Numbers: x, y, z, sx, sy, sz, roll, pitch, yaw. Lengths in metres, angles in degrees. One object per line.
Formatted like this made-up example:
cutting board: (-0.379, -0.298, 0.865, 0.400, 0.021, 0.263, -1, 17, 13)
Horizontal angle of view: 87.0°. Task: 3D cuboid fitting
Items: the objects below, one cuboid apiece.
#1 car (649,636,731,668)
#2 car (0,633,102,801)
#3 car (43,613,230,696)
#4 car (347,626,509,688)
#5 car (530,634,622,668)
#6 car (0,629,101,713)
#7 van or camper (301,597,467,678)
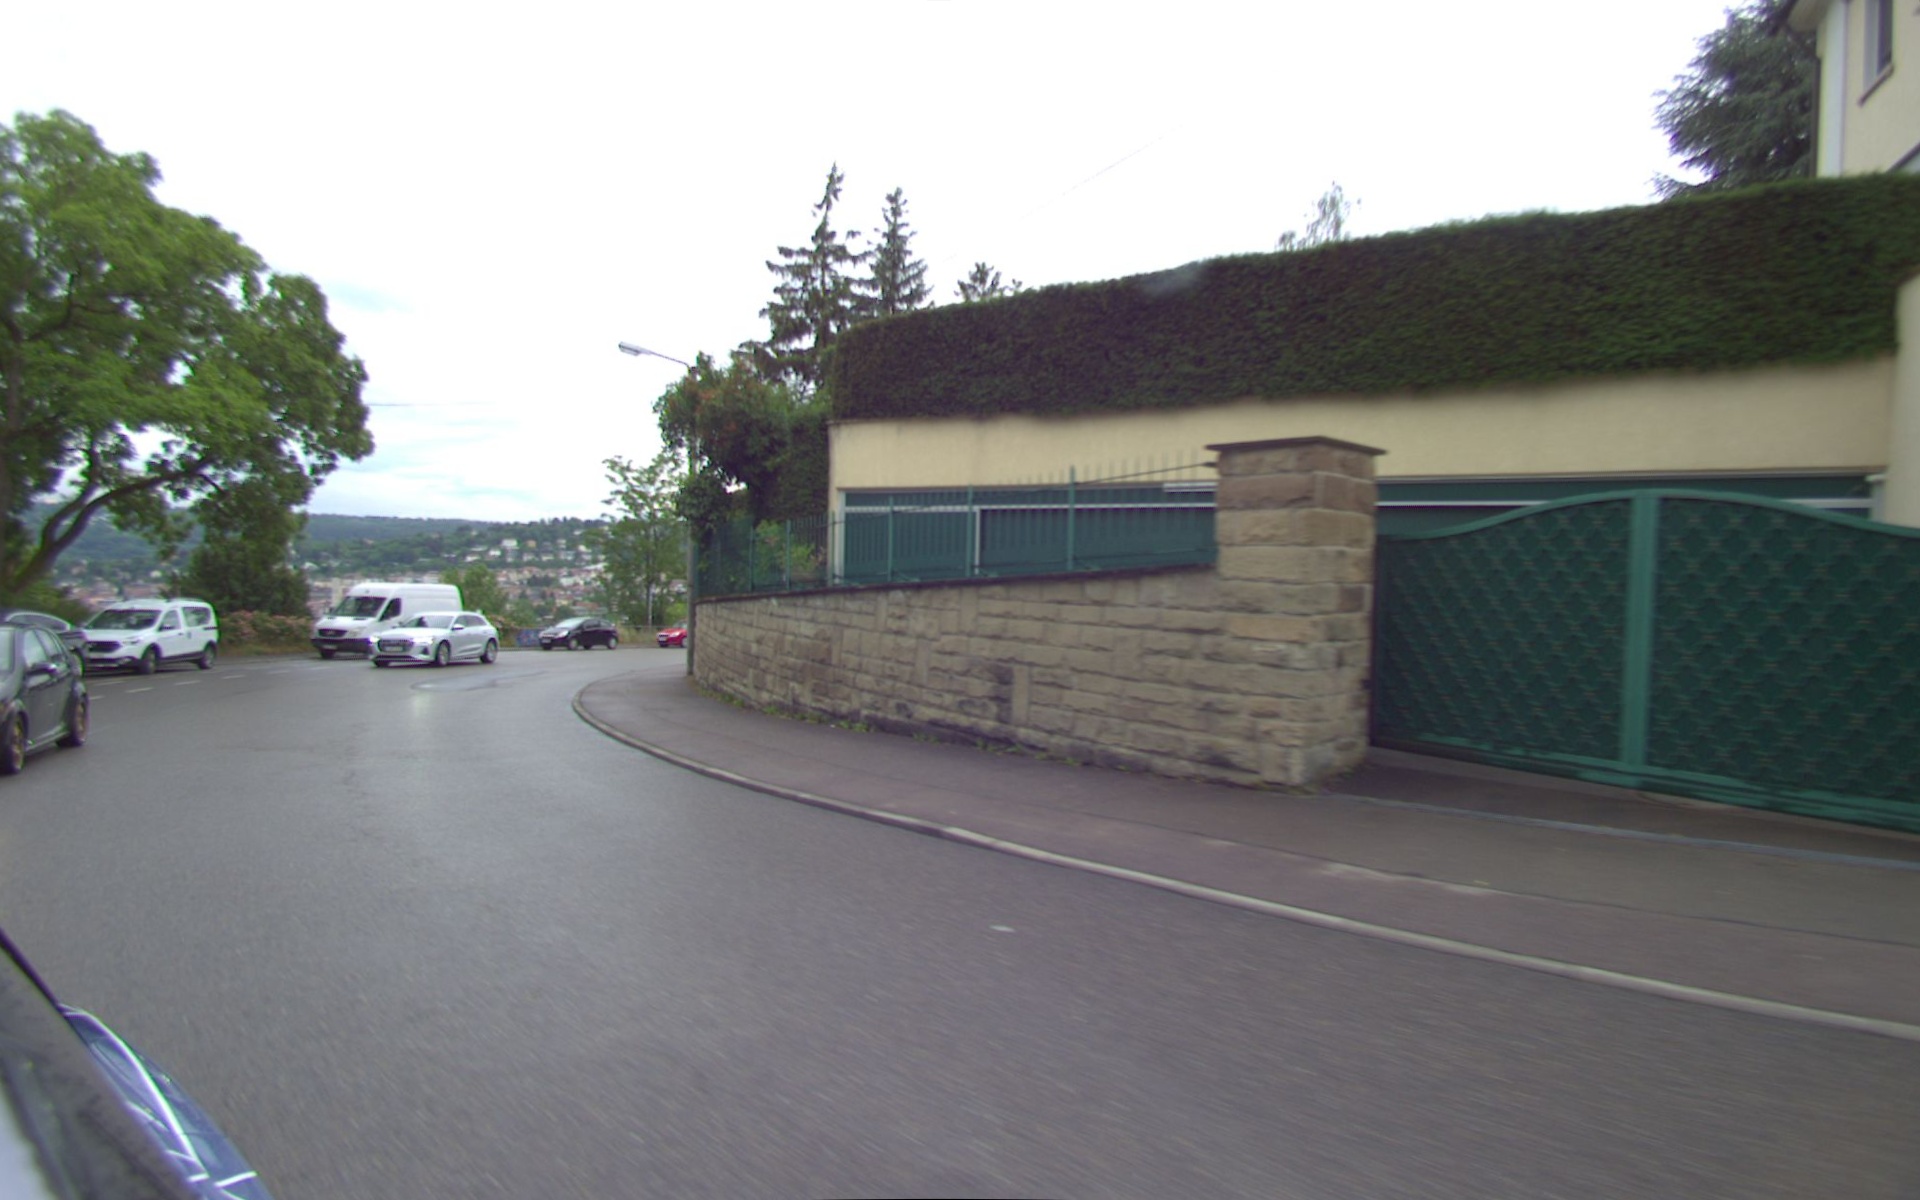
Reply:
car: (-13.953, 2.731, 52.523, 1.618, 1.552, 4.173, -1, -4, 29)
car: (-10.266, 1.079, 10.198, 1.754, 1.497, 4.418, 1, -2, -31)
car: (-20.077, 1.322, 24.945, 1.723, 1.835, 4.434, 2, -3, -13)
car: (-15.861, 1.670, 30.556, 2.163, 1.721, 4.878, 0, -2, 2)
car: (-17.439, 2.346, 46.110, 1.689, 1.455, 3.917, -1, -4, 22)
car: (-18.823, 1.319, 19.203, 1.835, 1.554, 4.908, 1, -3, -14)
van or camper: (-20.309, 1.302, 36.077, 2.048, 2.600, 5.875, 0, -2, 6)
